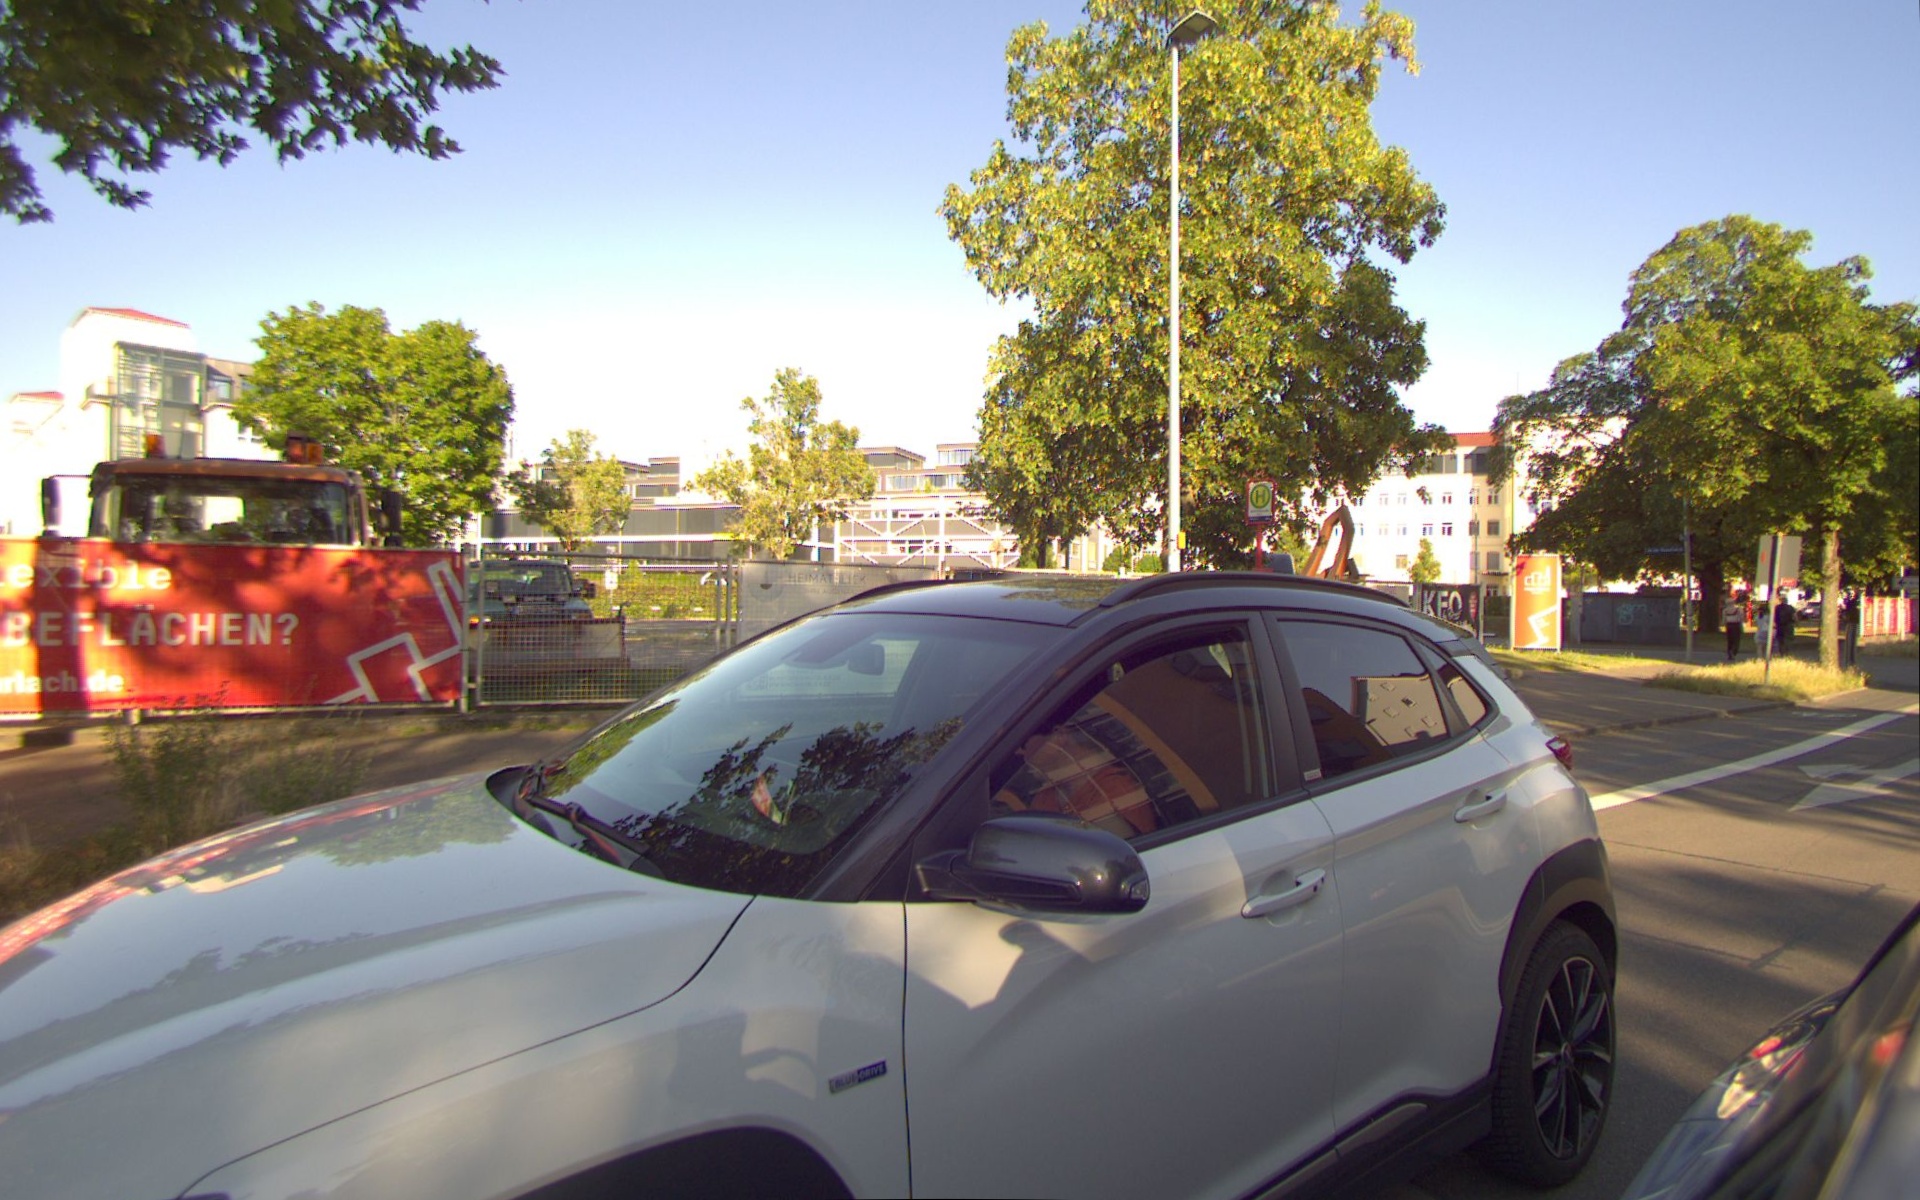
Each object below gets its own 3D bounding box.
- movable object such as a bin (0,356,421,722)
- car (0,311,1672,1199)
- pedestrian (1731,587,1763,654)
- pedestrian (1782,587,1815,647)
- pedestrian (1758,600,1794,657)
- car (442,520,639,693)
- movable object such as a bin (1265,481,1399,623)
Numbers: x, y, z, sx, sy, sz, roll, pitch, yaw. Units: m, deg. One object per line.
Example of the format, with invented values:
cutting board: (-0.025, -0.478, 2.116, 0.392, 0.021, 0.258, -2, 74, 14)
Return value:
movable object such as a bin: (-8.388, -0.548, 12.063, 3.154, 3.087, 6.295, 0, 0, -31)
car: (-0.012, 0.658, 2.474, 3.893, 1.618, 1.894, 3, -2, -39)
pedestrian: (20.999, 0.541, 26.989, 0.607, 1.759, 0.629, 0, 0, 44)
pedestrian: (24.154, 0.486, 29.172, 0.692, 1.689, 0.630, 0, 0, 37)
pedestrian: (20.930, 0.718, 25.951, 0.627, 1.452, 0.609, 0, 0, -40)
car: (-5.664, 0.044, 13.302, 2.001, 1.851, 4.612, 0, 0, -28)
movable object such as a bin: (15.523, -1.883, 42.772, 3.910, 5.547, 6.022, 0, 0, 6)
